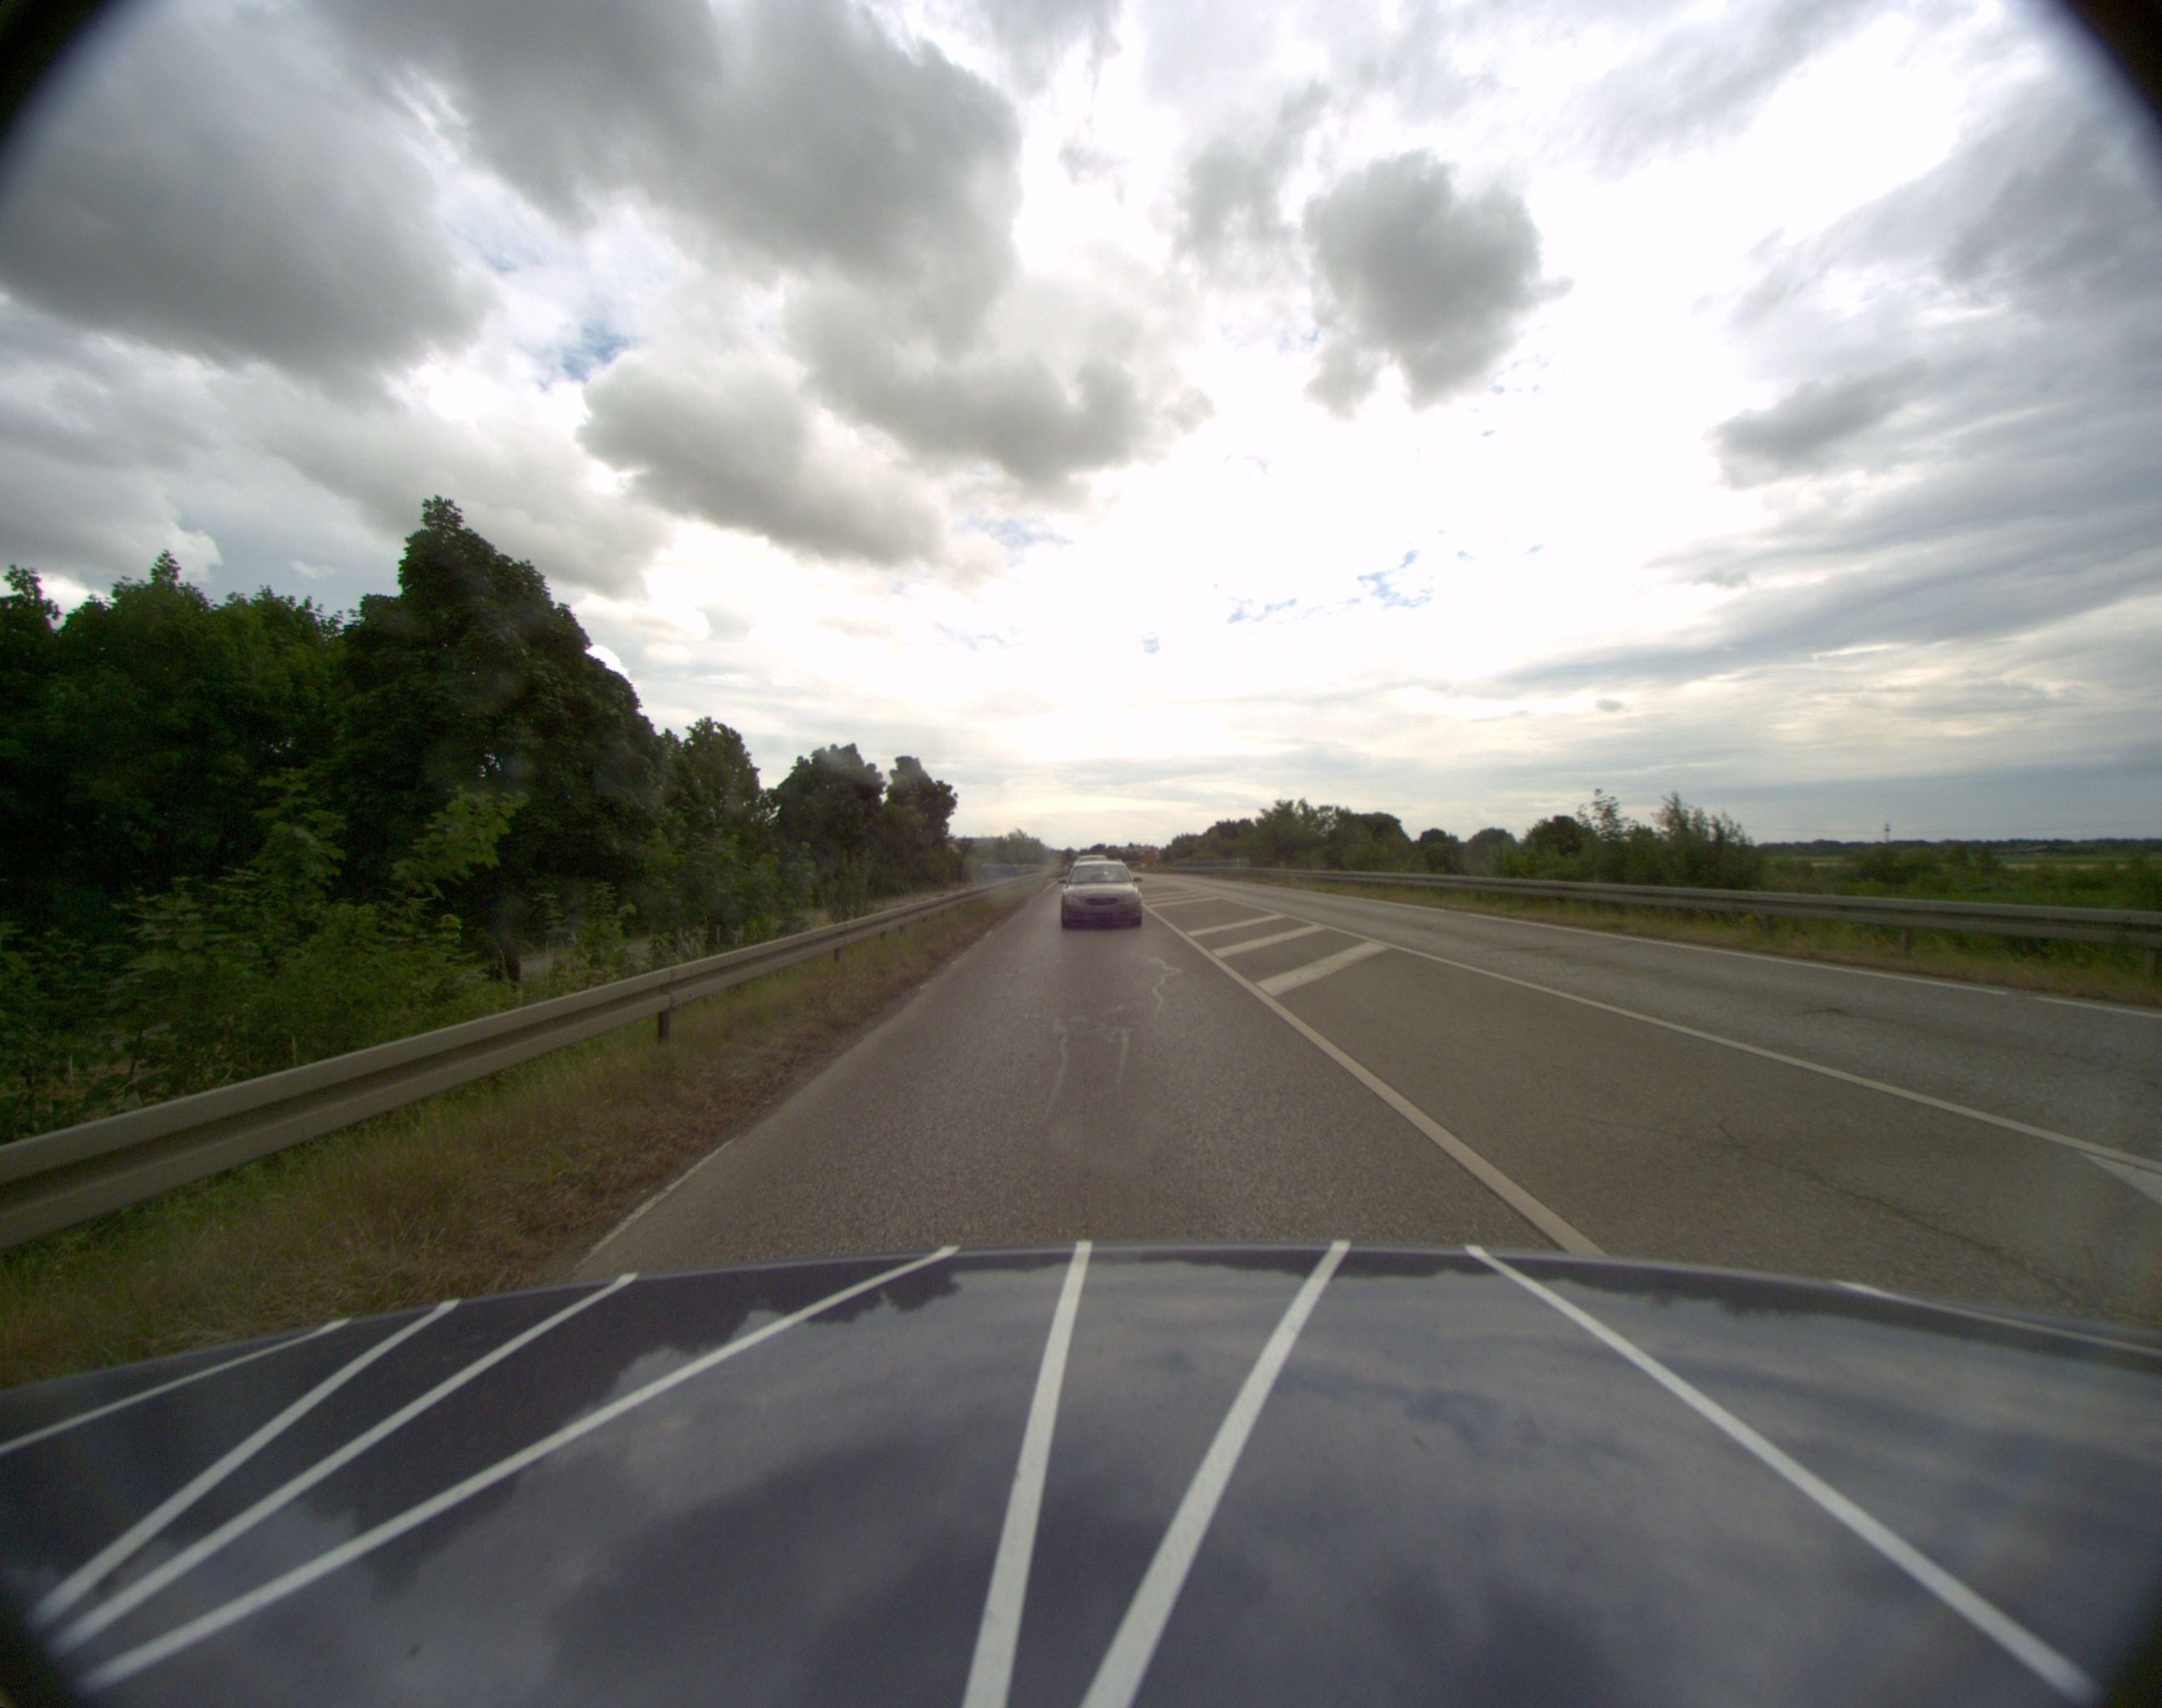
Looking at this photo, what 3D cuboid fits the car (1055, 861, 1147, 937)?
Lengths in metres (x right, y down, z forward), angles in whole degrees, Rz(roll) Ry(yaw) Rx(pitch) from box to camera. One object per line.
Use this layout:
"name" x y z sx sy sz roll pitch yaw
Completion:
"car" 0.395 0.904 16.964 1.768 1.383 3.876 -2 1 0

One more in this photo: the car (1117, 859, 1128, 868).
"car" 7.180 1.641 130.939 1.627 1.371 4.512 -1 0 0

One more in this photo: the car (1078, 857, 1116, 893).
"car" 0.716 0.906 34.995 1.603 1.494 3.962 -2 0 1

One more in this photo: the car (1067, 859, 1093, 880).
"car" -0.053 1.037 53.454 1.670 1.339 4.000 -2 0 0
